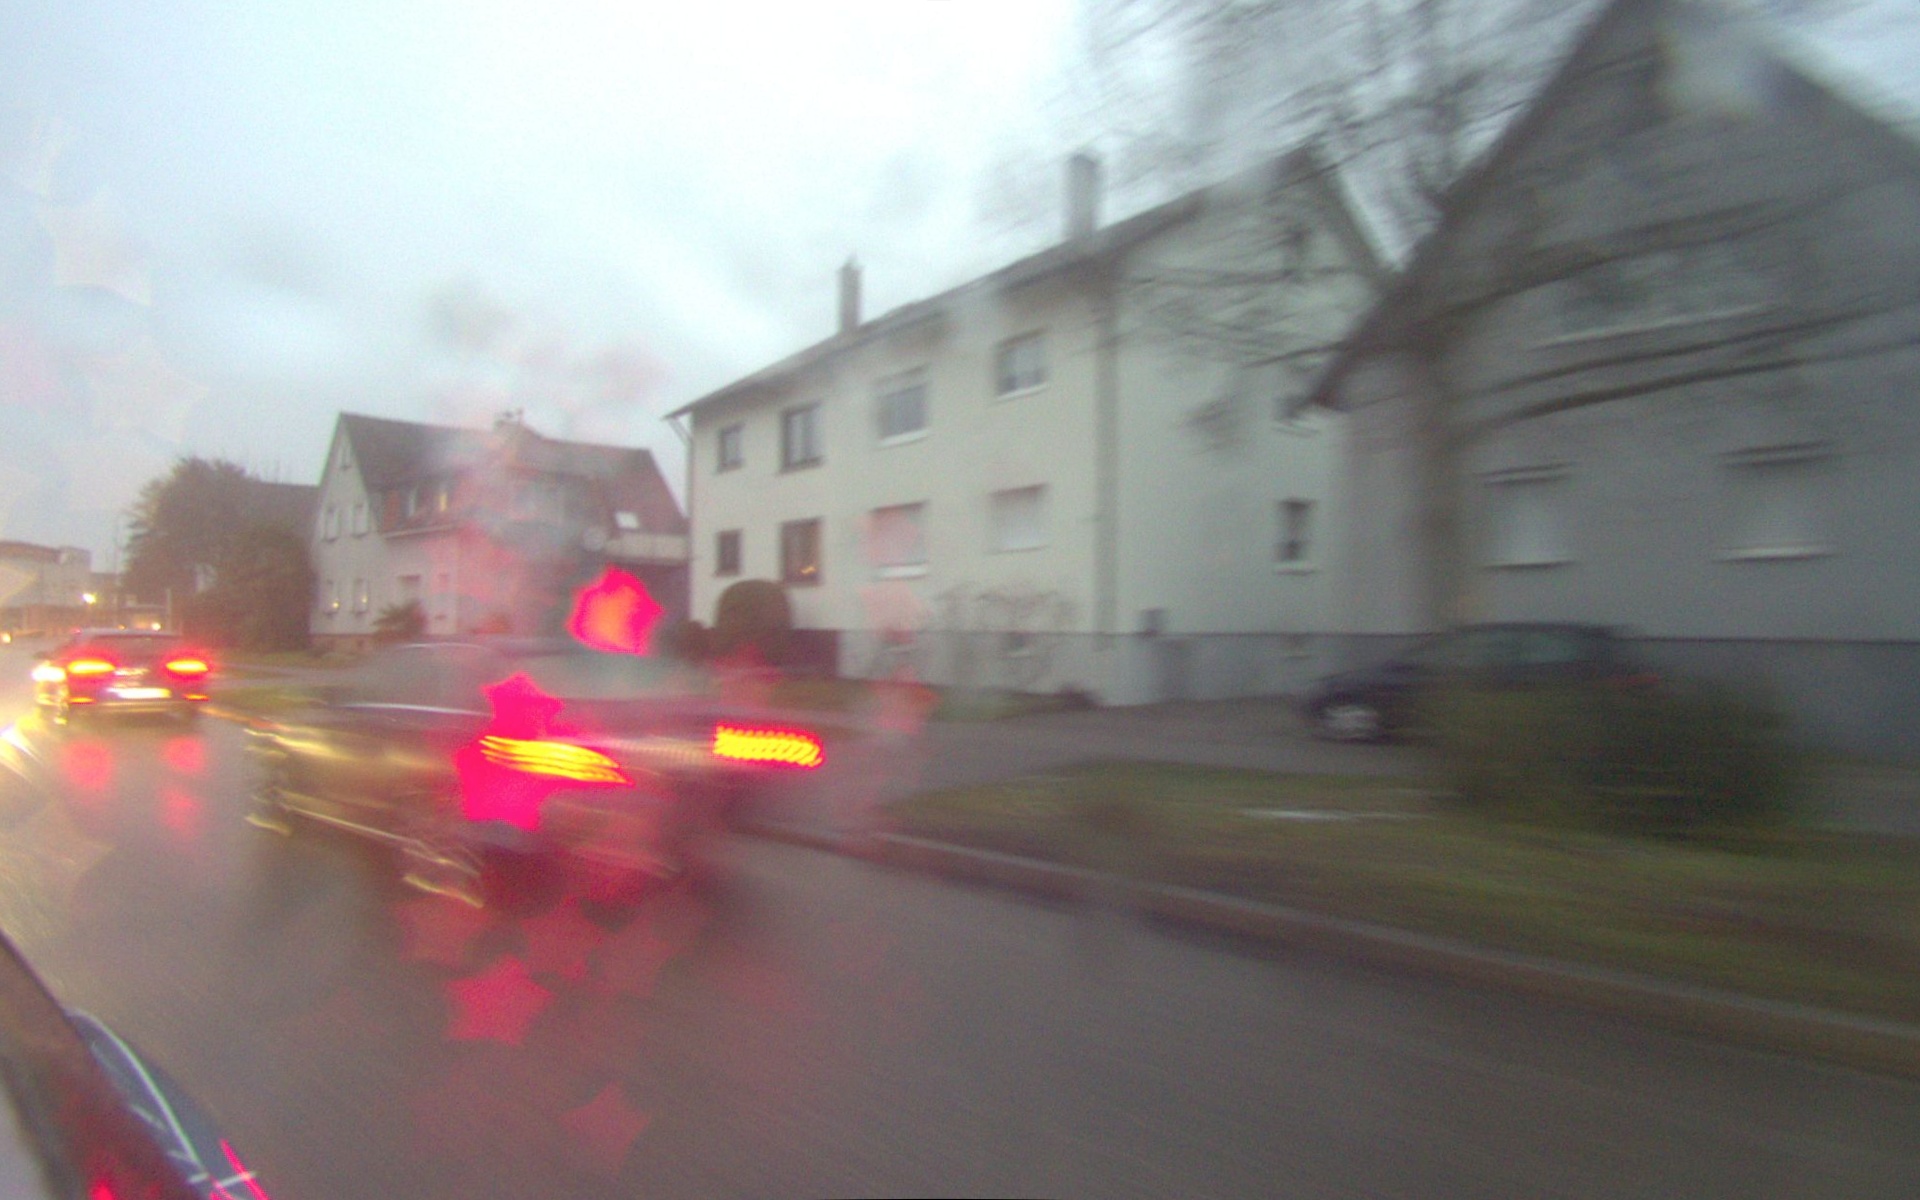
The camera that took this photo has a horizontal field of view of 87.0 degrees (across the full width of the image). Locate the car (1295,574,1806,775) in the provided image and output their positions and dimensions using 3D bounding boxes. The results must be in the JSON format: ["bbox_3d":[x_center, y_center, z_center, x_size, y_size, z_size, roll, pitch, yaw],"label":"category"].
[{"bbox_3d":[6.318,0.712,11.210,4.569,1.769,1.971,-1,-2,44],"label":"car"}]

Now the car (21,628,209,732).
[{"bbox_3d":[-13.622,1.199,16.234,3.998,1.452,1.686,-1,-4,42],"label":"car"}]

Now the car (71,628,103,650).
[{"bbox_3d":[-74.177,3.294,86.062,1.938,1.711,4.007,0,-1,-39],"label":"car"}]

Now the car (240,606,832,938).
[{"bbox_3d":[-2.963,0.825,6.539,4.422,1.452,1.686,-1,-4,41],"label":"car"}]
